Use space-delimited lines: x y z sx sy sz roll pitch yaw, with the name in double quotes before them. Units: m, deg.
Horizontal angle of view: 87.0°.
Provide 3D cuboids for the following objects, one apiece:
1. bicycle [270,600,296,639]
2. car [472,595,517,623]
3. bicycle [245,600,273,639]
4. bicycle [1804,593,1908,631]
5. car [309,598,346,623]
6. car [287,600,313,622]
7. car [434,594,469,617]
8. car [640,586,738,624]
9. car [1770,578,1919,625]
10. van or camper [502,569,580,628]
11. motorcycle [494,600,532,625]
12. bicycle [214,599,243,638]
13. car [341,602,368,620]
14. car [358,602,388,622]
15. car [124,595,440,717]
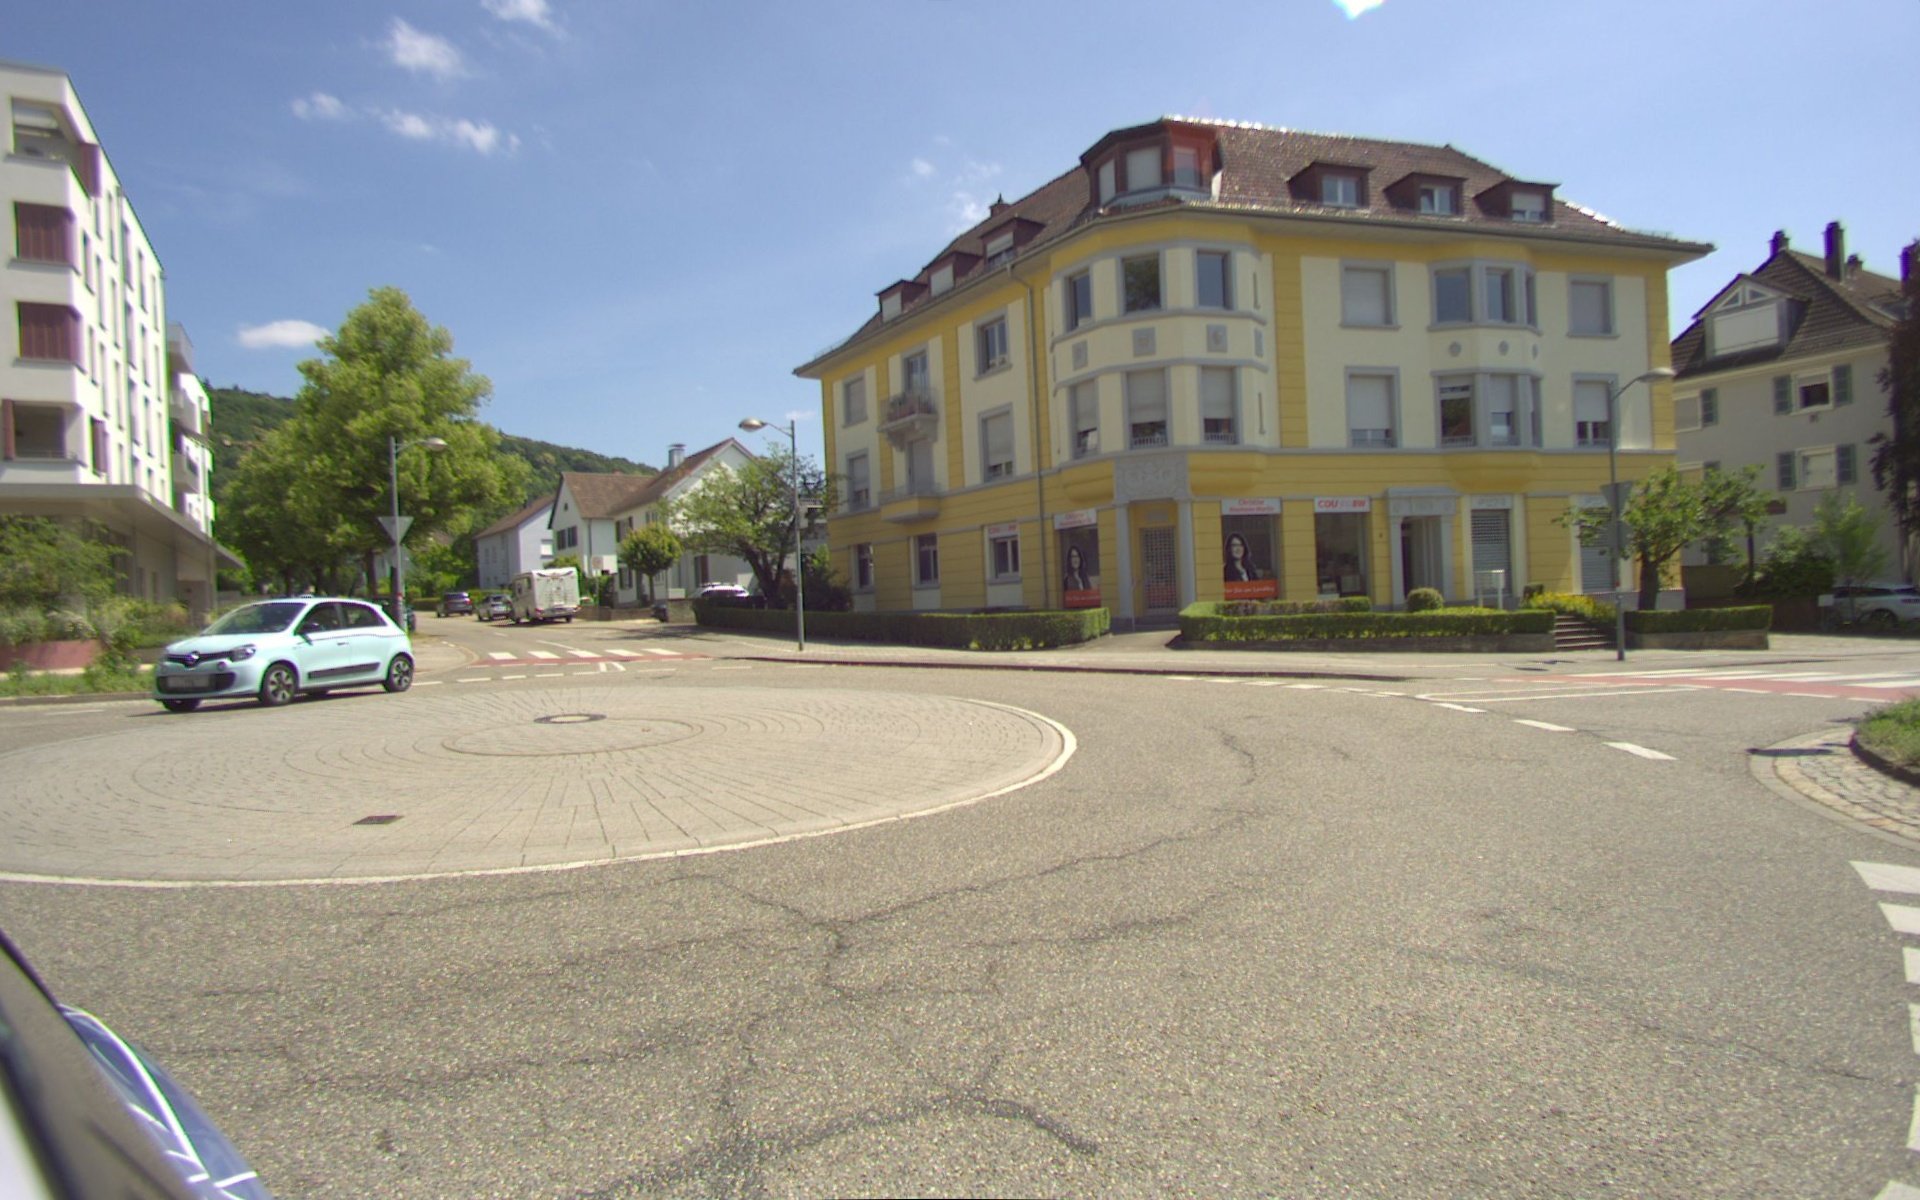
"bicycle" -25.242 0.711 37.760 0.560 1.388 1.753 -1 0 -26
"car" -26.949 0.514 58.480 1.727 1.516 4.003 -2 1 -34
"bicycle" -25.924 0.711 37.432 0.560 1.388 1.753 -1 0 -26
"bicycle" 28.642 0.380 32.409 0.657 1.147 2.394 -1 0 -34
"car" -46.086 0.758 73.657 1.967 1.678 4.009 -1 2 -36
"car" -57.059 0.944 87.457 1.738 1.763 4.011 -2 1 -34
"car" -35.622 0.388 70.857 1.727 1.516 4.003 -2 1 -34
"car" -12.165 0.195 45.530 1.756 1.598 3.937 -1 1 42
"car" 30.424 0.039 34.199 1.967 1.520 4.429 -1 0 -37
"van or camper" -21.038 -0.085 50.656 2.237 2.657 5.900 -5 3 -35
"motorcycle" -24.321 0.666 55.097 0.732 1.329 2.225 -1 0 12
"bicycle" -26.768 0.658 37.040 0.560 1.388 1.753 -1 0 -26
"car" -61.595 1.120 102.939 1.967 1.678 4.009 -1 2 -36
"car" -54.556 1.077 94.033 1.967 1.678 4.009 -1 2 -36
"car" -9.921 0.724 15.269 1.640 1.536 4.154 -2 0 7
